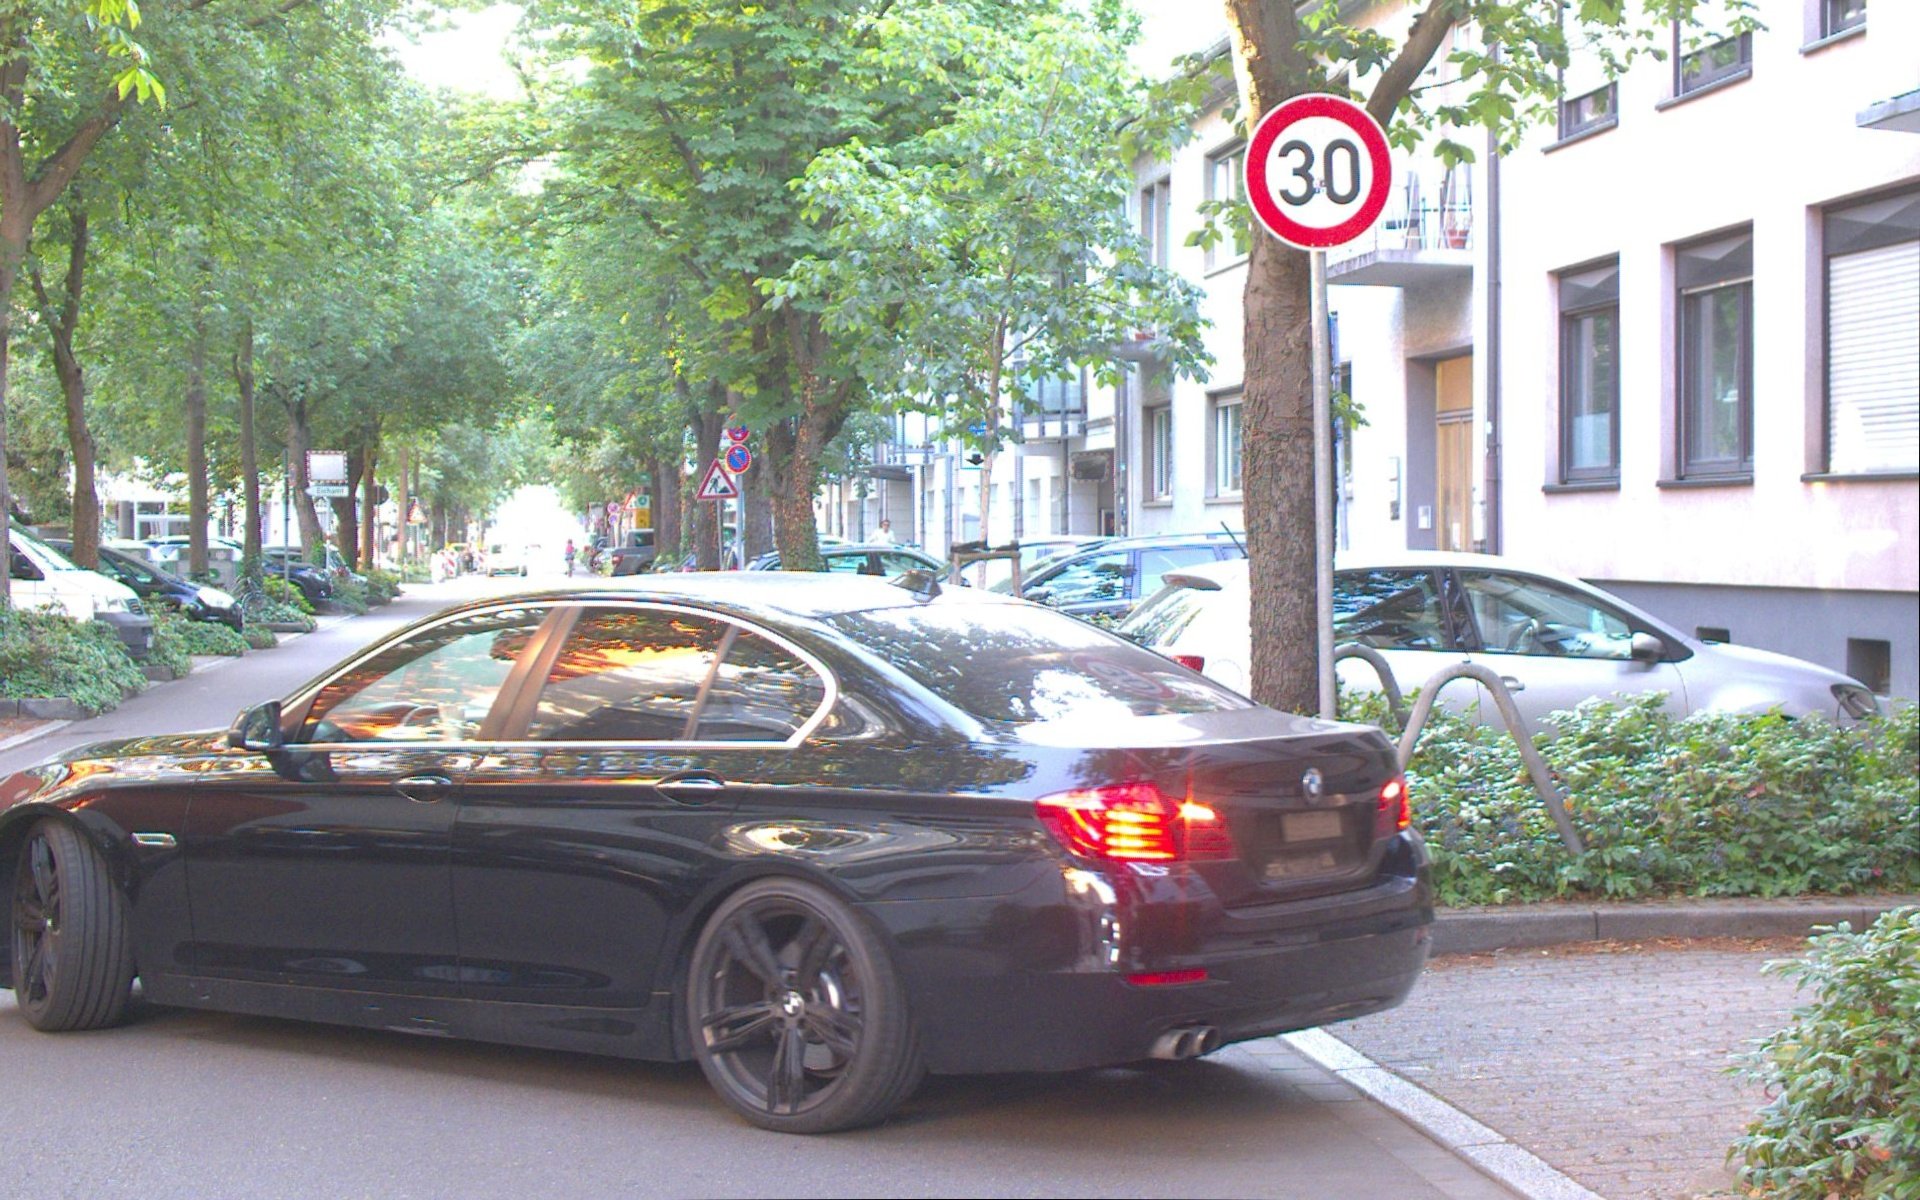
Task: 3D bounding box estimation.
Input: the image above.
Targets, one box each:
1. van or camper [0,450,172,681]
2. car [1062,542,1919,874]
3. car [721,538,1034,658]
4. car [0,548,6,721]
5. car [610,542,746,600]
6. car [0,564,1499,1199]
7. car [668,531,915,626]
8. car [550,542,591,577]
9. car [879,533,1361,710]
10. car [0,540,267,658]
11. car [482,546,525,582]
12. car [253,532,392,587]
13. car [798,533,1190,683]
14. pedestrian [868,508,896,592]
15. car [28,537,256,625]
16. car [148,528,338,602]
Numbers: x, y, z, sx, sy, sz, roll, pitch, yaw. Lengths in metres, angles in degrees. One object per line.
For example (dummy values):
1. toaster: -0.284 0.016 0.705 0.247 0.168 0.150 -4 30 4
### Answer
1. van or camper: -11.120 -0.382 37.615 4.662 2.470 2.000 0 1 -7
2. car: 2.569 0.470 16.640 3.908 1.471 1.665 -1 1 -8
3. car: -1.120 -0.044 45.525 3.967 1.522 1.785 0 1 -7
4. car: -10.324 0.330 29.309 3.967 1.512 1.785 0 1 -6
5. car: -8.315 -0.858 101.344 3.967 1.678 1.785 0 1 -5
6. car: -0.966 0.644 10.124 4.755 1.475 1.796 1 1 36
7. car: -2.831 -0.371 57.390 3.967 1.522 1.785 -1 1 -8
8. car: -17.638 -1.848 155.821 1.822 1.525 4.001 -1 1 -6
9. car: 1.369 0.160 30.259 3.967 1.471 1.785 -1 1 -8
10. car: -11.912 -0.033 48.613 3.967 1.614 1.785 0 1 -6
11. car: -20.672 -1.636 155.821 1.779 1.557 4.169 0 1 -6
12. car: -19.173 -1.231 103.510 3.967 1.614 1.785 0 1 -5
13. car: 0.328 0.064 36.714 3.967 1.522 1.785 0 1 -7
14. pedestrian: -1.873 -1.202 82.295 0.589 2.007 0.669 -1 1 -5
15. car: -15.443 -0.371 65.080 3.967 1.614 1.785 0 1 -5
16. car: -15.978 -0.795 76.747 3.967 1.614 1.785 0 1 -5
